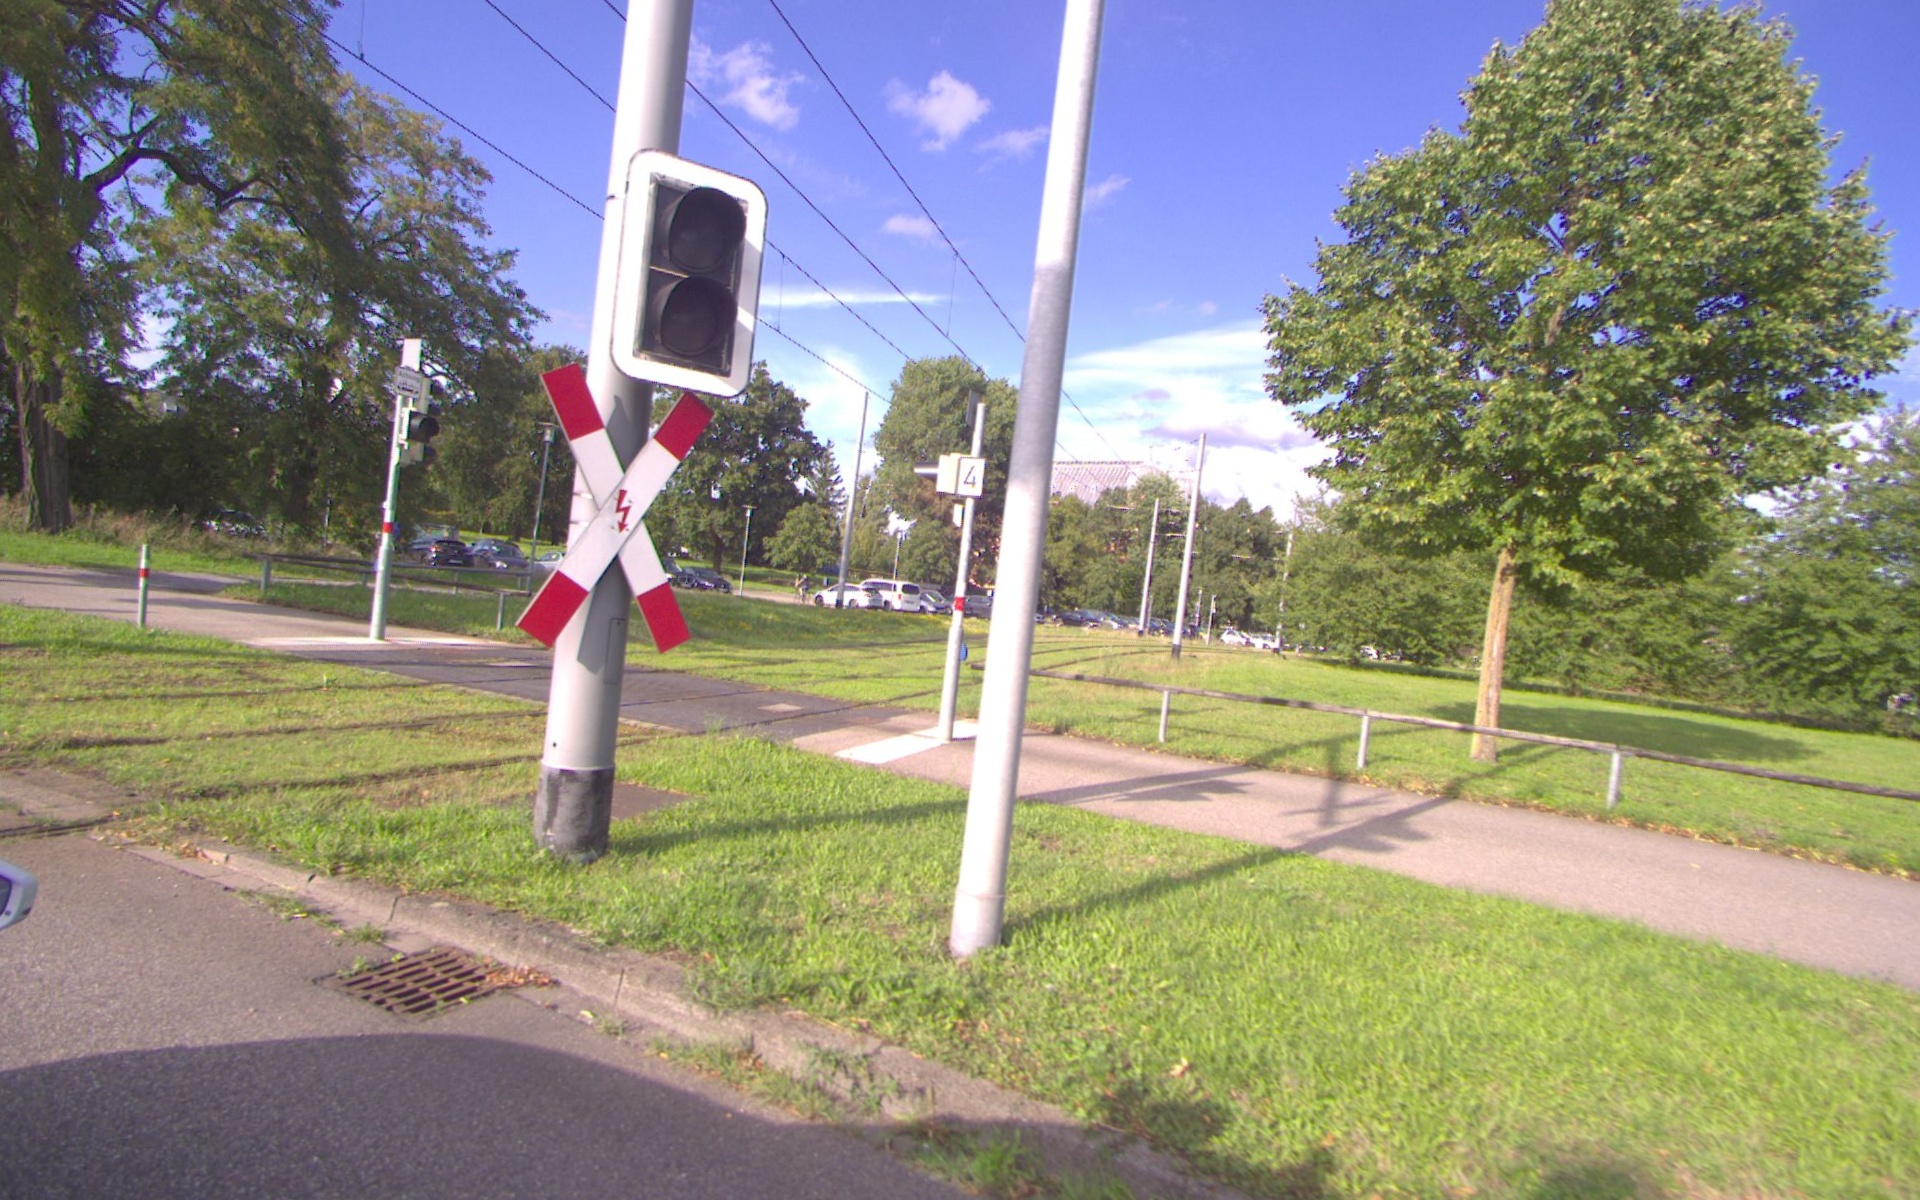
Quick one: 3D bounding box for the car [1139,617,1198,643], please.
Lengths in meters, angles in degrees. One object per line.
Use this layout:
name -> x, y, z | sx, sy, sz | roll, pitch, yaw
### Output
car -> 17.026, 2.464, 82.333 | 1.846, 1.560, 4.415 | 6, 1, -42

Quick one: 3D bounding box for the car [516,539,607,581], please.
car -> -17.618, -1.769, 44.358 | 4.770, 1.375, 1.850 | 7, 1, 44

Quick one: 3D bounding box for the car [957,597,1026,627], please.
car -> 2.043, 0.794, 65.796 | 1.848, 1.416, 4.415 | 6, 1, -42

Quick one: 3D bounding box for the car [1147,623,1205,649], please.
car -> 18.121, 2.990, 84.432 | 1.846, 1.560, 4.415 | 6, 1, -42

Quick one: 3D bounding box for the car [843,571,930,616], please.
car -> -4.323, -0.425, 58.583 | 2.301, 2.033, 5.051 | 6, 1, -43

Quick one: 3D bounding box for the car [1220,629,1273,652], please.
car -> 26.805, 3.820, 94.268 | 1.842, 1.560, 4.425 | 6, 1, -35

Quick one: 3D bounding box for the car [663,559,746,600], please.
car -> -12.666, -1.052, 49.635 | 4.410, 1.535, 1.850 | 7, 1, 44

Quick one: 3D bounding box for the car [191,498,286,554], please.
car -> -25.242, -2.618, 35.119 | 4.671, 1.535, 1.850 | 7, 1, 44

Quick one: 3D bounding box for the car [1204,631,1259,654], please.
car -> 24.724, 3.832, 91.733 | 4.411, 1.494, 1.788 | 7, 1, 45

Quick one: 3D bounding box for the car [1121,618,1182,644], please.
car -> 15.220, 2.466, 80.211 | 1.846, 1.560, 4.415 | 6, 1, -42

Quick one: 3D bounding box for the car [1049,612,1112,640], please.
car -> 8.791, 1.885, 73.770 | 1.790, 1.535, 4.415 | 6, 1, -42

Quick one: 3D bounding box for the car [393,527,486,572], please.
car -> -20.839, -2.038, 40.164 | 4.671, 1.376, 1.850 | 7, 1, 44

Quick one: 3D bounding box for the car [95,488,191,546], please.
car -> -26.989, -2.771, 33.175 | 4.671, 1.535, 1.850 | 7, 1, 44

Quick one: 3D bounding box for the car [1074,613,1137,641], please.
car -> 10.878, 2.007, 75.352 | 1.846, 1.560, 4.415 | 6, 1, -42

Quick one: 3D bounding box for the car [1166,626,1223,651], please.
car -> 20.091, 3.314, 86.344 | 1.846, 1.560, 4.415 | 6, 1, -42

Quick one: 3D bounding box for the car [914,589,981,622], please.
car -> -0.811, 0.313, 62.470 | 2.019, 1.535, 4.068 | 6, 1, -38

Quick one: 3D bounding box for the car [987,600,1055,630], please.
car -> 4.054, 0.993, 67.630 | 1.848, 1.524, 4.415 | 6, 1, -42

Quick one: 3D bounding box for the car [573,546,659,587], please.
car -> -15.804, -1.554, 46.136 | 4.410, 1.380, 1.850 | 7, 1, 44

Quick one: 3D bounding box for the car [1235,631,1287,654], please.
car -> 28.711, 4.041, 96.117 | 1.842, 1.560, 4.425 | 6, 1, -35

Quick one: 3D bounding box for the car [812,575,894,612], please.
car -> -6.022, -0.387, 56.362 | 4.400, 1.535, 1.854 | 7, 1, 37

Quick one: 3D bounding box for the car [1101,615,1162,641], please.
car -> 13.332, 2.201, 78.397 | 1.846, 1.472, 4.415 | 6, 1, -42

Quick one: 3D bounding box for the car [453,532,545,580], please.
car -> -19.286, -1.854, 41.999 | 4.685, 1.535, 1.850 | 7, 1, 44

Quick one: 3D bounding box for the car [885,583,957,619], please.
car -> -2.403, 0.040, 60.963 | 2.085, 1.695, 4.422 | 6, 1, -38

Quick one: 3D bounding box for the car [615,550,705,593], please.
car -> -14.237, -1.351, 47.571 | 4.880, 1.535, 1.850 | 7, 1, 44
